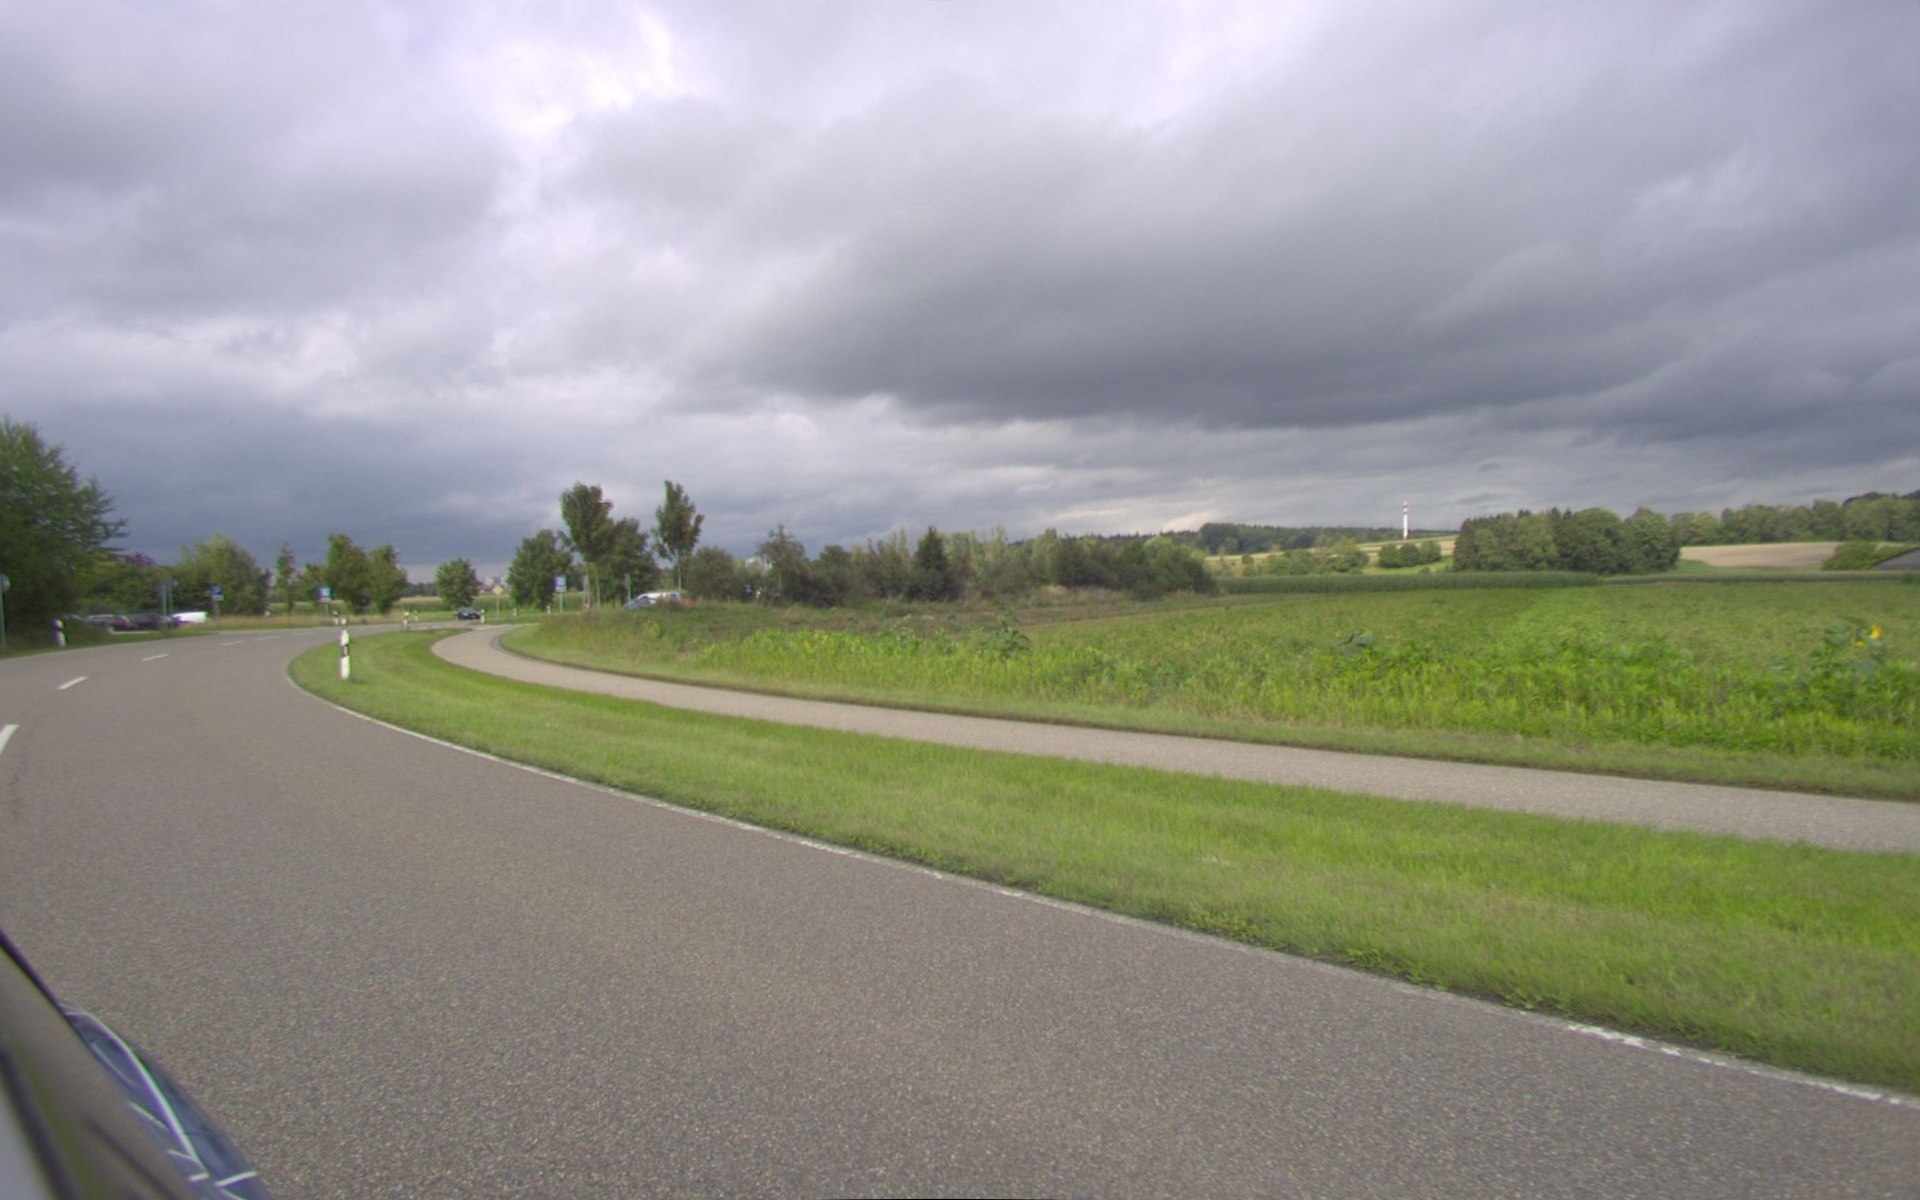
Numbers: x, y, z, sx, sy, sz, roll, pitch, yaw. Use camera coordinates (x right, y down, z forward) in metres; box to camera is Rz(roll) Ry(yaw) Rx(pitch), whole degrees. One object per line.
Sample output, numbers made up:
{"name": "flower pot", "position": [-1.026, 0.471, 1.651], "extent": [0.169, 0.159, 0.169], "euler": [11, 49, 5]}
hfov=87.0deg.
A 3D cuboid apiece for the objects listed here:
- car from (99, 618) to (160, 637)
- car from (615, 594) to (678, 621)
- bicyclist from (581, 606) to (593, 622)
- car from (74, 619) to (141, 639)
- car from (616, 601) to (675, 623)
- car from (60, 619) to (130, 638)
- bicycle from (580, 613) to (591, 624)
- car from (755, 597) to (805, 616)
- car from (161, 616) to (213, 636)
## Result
{"name": "car", "position": [-75.650, 2.499, 92.250], "extent": [3.931, 1.508, 2.006], "euler": [-2, 0, -29]}
{"name": "car", "position": [-26.175, 0.627, 84.640], "extent": [4.828, 2.029, 2.062], "euler": [-2, 0, -13]}
{"name": "bicyclist", "position": [-36.880, 1.369, 100.058], "extent": [0.820, 1.577, 1.057], "euler": [-1, 0, -8]}
{"name": "car", "position": [-73.278, 2.437, 87.034], "extent": [3.941, 1.516, 2.058], "euler": [-2, 0, -22]}
{"name": "car", "position": [-24.774, 0.923, 79.844], "extent": [4.191, 1.607, 2.005], "euler": [-2, 0, -12]}
{"name": "car", "position": [-71.657, 2.339, 83.895], "extent": [4.094, 1.424, 2.006], "euler": [-2, 0, -29]}
{"name": "bicycle", "position": [-36.889, 1.799, 99.822], "extent": [0.627, 1.040, 2.195], "euler": [-1, 0, -10]}
{"name": "car", "position": [-15.466, 0.541, 86.877], "extent": [3.932, 1.398, 1.848], "euler": [-3, 1, -19]}
{"name": "car", "position": [-80.972, 2.675, 106.110], "extent": [3.931, 1.874, 2.007], "euler": [-2, 0, -25]}
